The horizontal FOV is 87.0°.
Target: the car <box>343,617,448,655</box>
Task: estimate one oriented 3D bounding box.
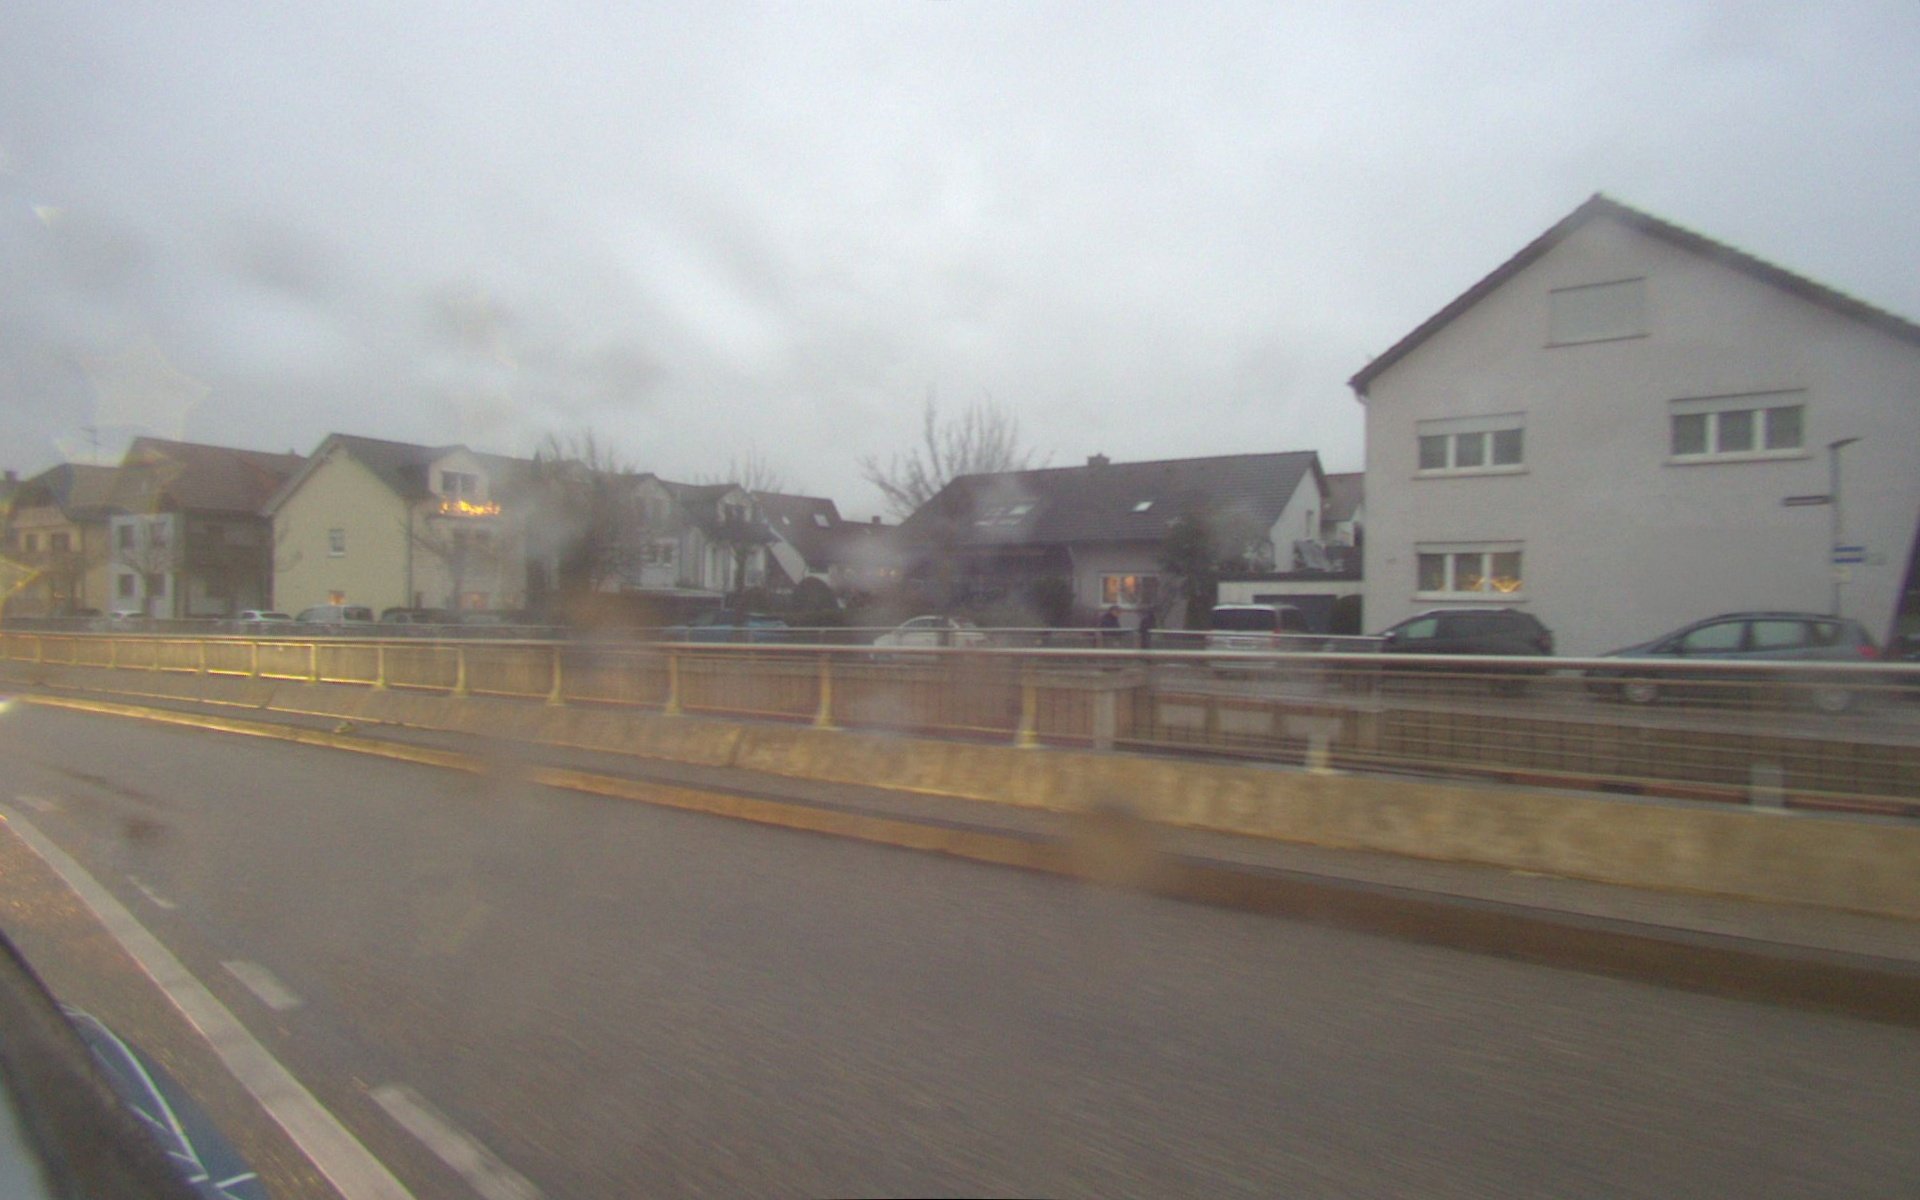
[{"bbox_3d":[-22.851,1.423,40.953,4.239,1.480,1.782,-1,-1,29],"label":"car"}]

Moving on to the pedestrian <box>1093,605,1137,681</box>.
[{"bbox_3d":[2.758,0.756,18.016,0.602,1.312,0.504,-1,-1,38],"label":"pedestrian"}]

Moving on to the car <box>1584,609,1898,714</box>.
[{"bbox_3d":[13.221,0.966,17.434,4.086,1.581,1.758,-1,0,36],"label":"car"}]

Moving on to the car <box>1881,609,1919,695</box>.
[{"bbox_3d":[20.843,1.150,21.195,1.714,1.695,3.953,2,-2,34],"label":"car"}]

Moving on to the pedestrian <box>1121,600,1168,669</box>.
[{"bbox_3d":[3.433,0.630,18.785,0.602,1.259,0.684,-1,-1,38],"label":"pedestrian"}]

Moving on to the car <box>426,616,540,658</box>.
[{"bbox_3d":[-18.071,1.365,38.336,4.239,1.480,1.782,-1,-1,29],"label":"car"}]

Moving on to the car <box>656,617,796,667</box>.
[{"bbox_3d":[-7.395,1.274,31.971,4.239,1.480,1.782,-1,-1,29],"label":"car"}]

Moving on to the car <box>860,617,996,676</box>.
[{"bbox_3d":[-0.883,1.210,27.472,3.492,1.520,1.463,-1,-1,32],"label":"car"}]

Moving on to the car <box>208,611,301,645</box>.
[{"bbox_3d":[-32.083,1.292,46.037,3.994,1.480,1.662,-1,-3,25],"label":"car"}]

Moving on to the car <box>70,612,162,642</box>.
[{"bbox_3d":[-42.785,1.365,51.283,4.589,1.480,1.785,0,-1,25],"label":"car"}]

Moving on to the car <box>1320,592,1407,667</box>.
[{"bbox_3d":[11.397,0.893,28.484,1.468,1.952,3.661,-2,-4,35],"label":"car"}]

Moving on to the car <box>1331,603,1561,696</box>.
[{"bbox_3d":[9.611,0.914,20.115,3.948,1.673,1.685,-1,0,33],"label":"car"}]

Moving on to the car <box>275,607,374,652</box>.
[{"bbox_3d":[-27.231,1.233,43.364,4.238,1.841,1.782,-1,-1,29],"label":"car"}]
